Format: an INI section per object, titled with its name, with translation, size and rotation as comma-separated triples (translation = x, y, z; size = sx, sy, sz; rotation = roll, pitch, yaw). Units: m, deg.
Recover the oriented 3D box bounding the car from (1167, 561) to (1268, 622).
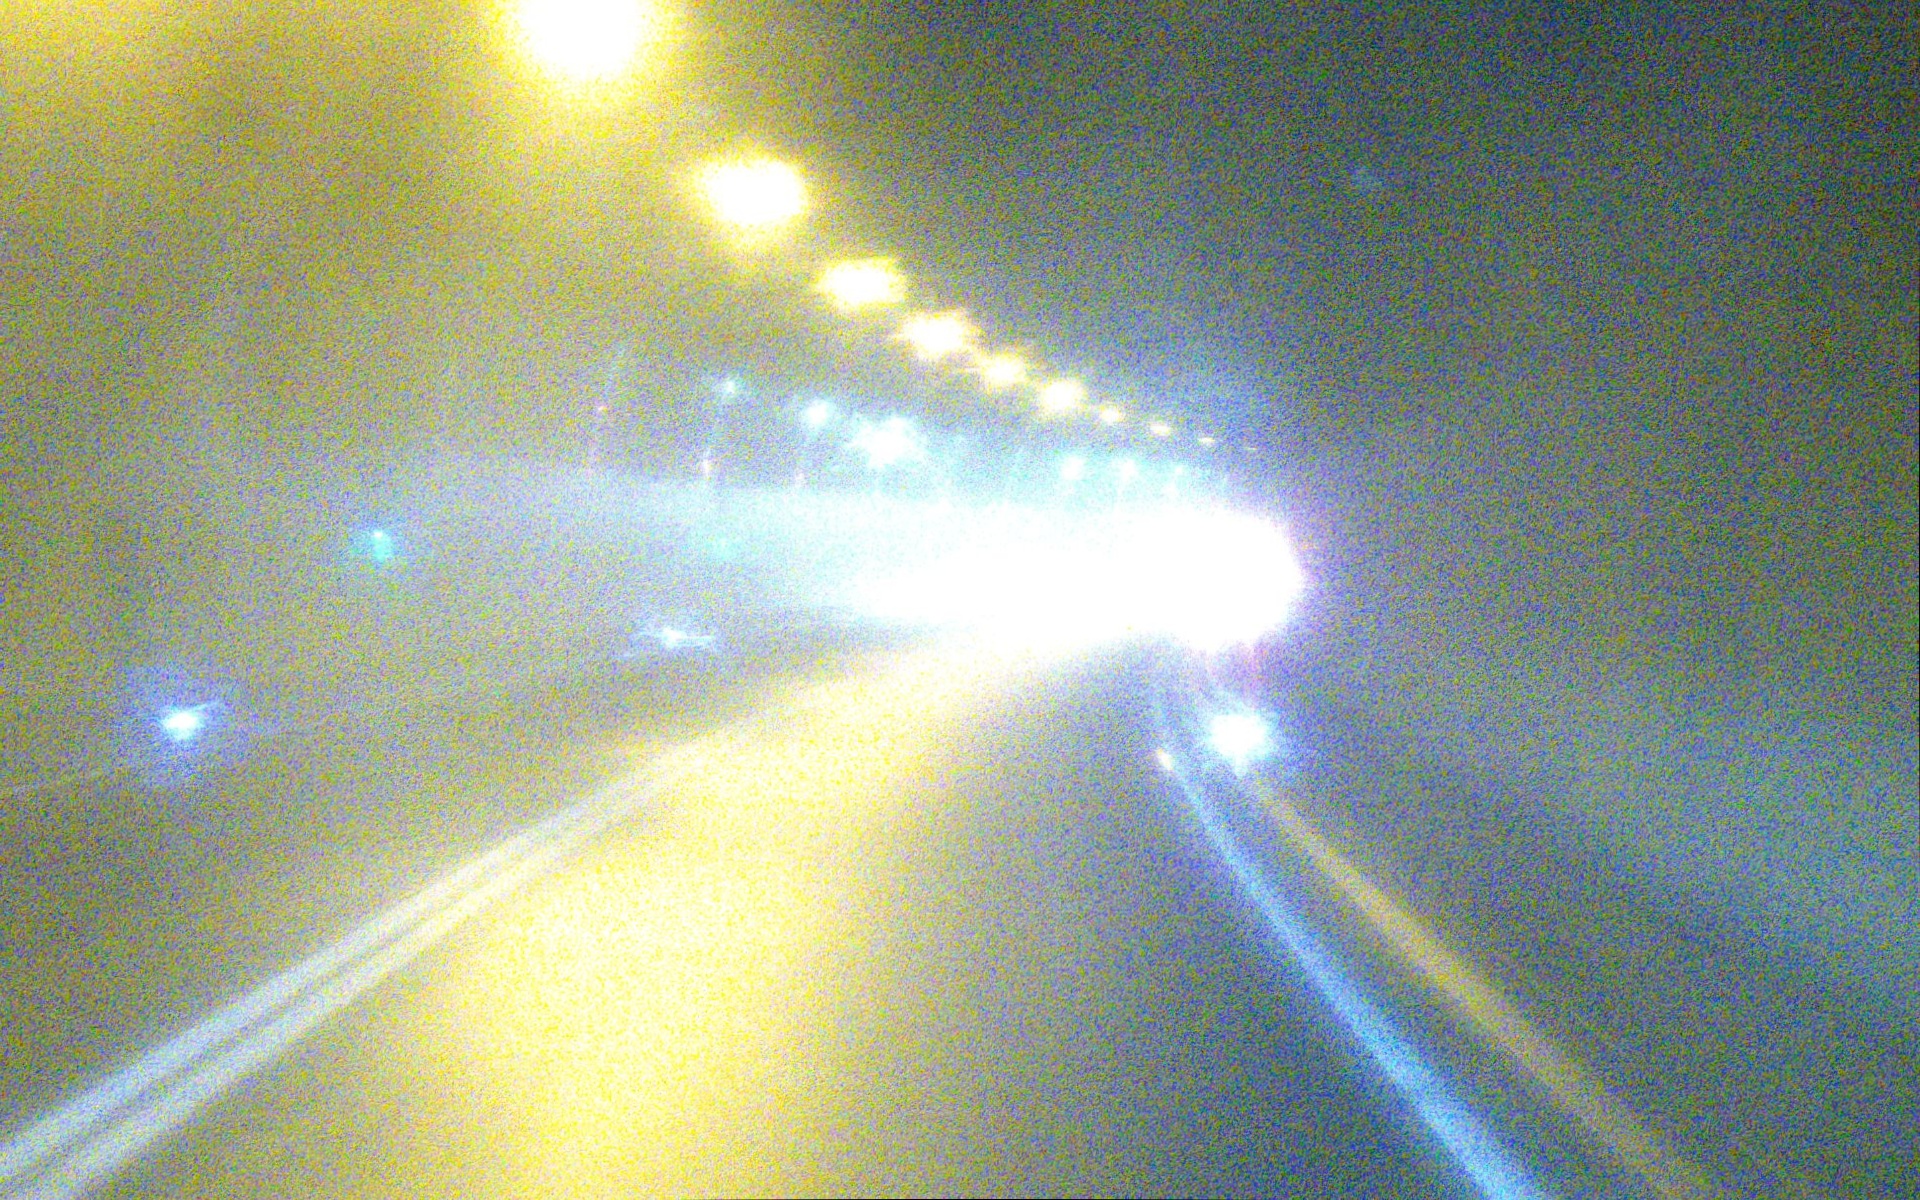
[car]
translation = 7.299, -0.257, 97.158
size = 1.995, 1.645, 3.997
rotation = 1, 1, 17
